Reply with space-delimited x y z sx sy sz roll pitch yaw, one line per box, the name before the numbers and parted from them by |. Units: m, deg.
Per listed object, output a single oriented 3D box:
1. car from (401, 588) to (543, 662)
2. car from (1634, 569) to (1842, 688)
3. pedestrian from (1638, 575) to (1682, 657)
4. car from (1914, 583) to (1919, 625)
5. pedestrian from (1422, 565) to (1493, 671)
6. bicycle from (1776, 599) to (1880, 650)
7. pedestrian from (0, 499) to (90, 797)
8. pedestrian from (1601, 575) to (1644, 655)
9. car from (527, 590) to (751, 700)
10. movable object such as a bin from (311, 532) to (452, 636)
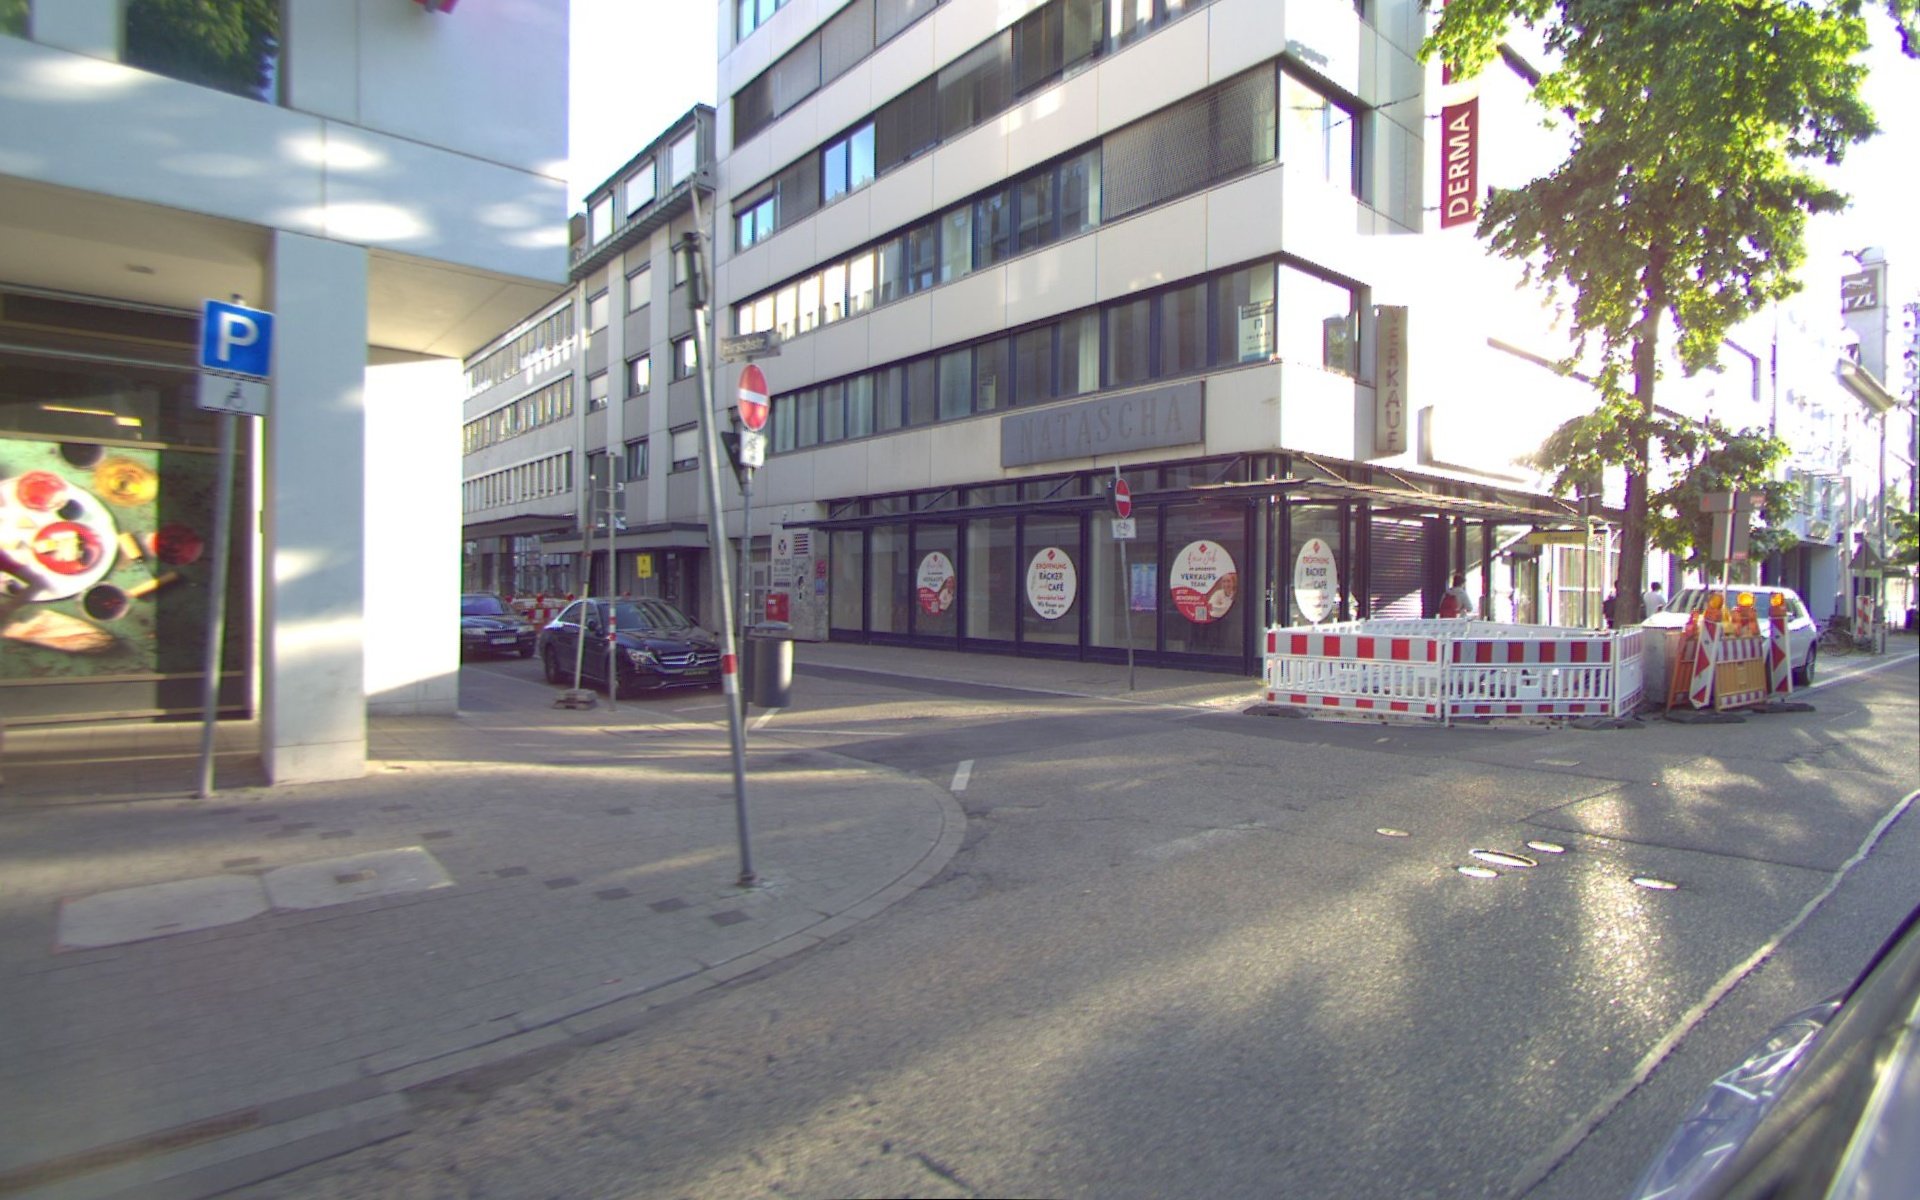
car | -11.005 0.485 22.677 1.766 1.435 4.323 -3 2 -41
car | 13.908 0.400 17.991 4.823 1.758 2.027 -1 3 -42
pedestrian | 16.075 0.354 23.240 0.623 1.853 0.706 0 0 -40
car | 41.070 0.206 41.690 4.788 1.709 1.985 0 3 -41
pedestrian | 9.292 0.310 18.895 0.901 1.921 0.836 0 1 -37
bicycle | 22.036 0.594 25.716 0.824 1.148 1.820 -1 3 -32
pedestrian | -6.369 0.276 6.561 0.786 1.840 0.758 1 3 -7
pedestrian | 15.525 0.335 23.716 0.623 1.853 0.689 0 0 -40
car | -5.178 0.591 15.970 1.766 1.435 4.323 -3 2 -41
movable object such as a bin | -18.493 -0.496 32.898 2.766 2.946 8.226 0 1 -21
